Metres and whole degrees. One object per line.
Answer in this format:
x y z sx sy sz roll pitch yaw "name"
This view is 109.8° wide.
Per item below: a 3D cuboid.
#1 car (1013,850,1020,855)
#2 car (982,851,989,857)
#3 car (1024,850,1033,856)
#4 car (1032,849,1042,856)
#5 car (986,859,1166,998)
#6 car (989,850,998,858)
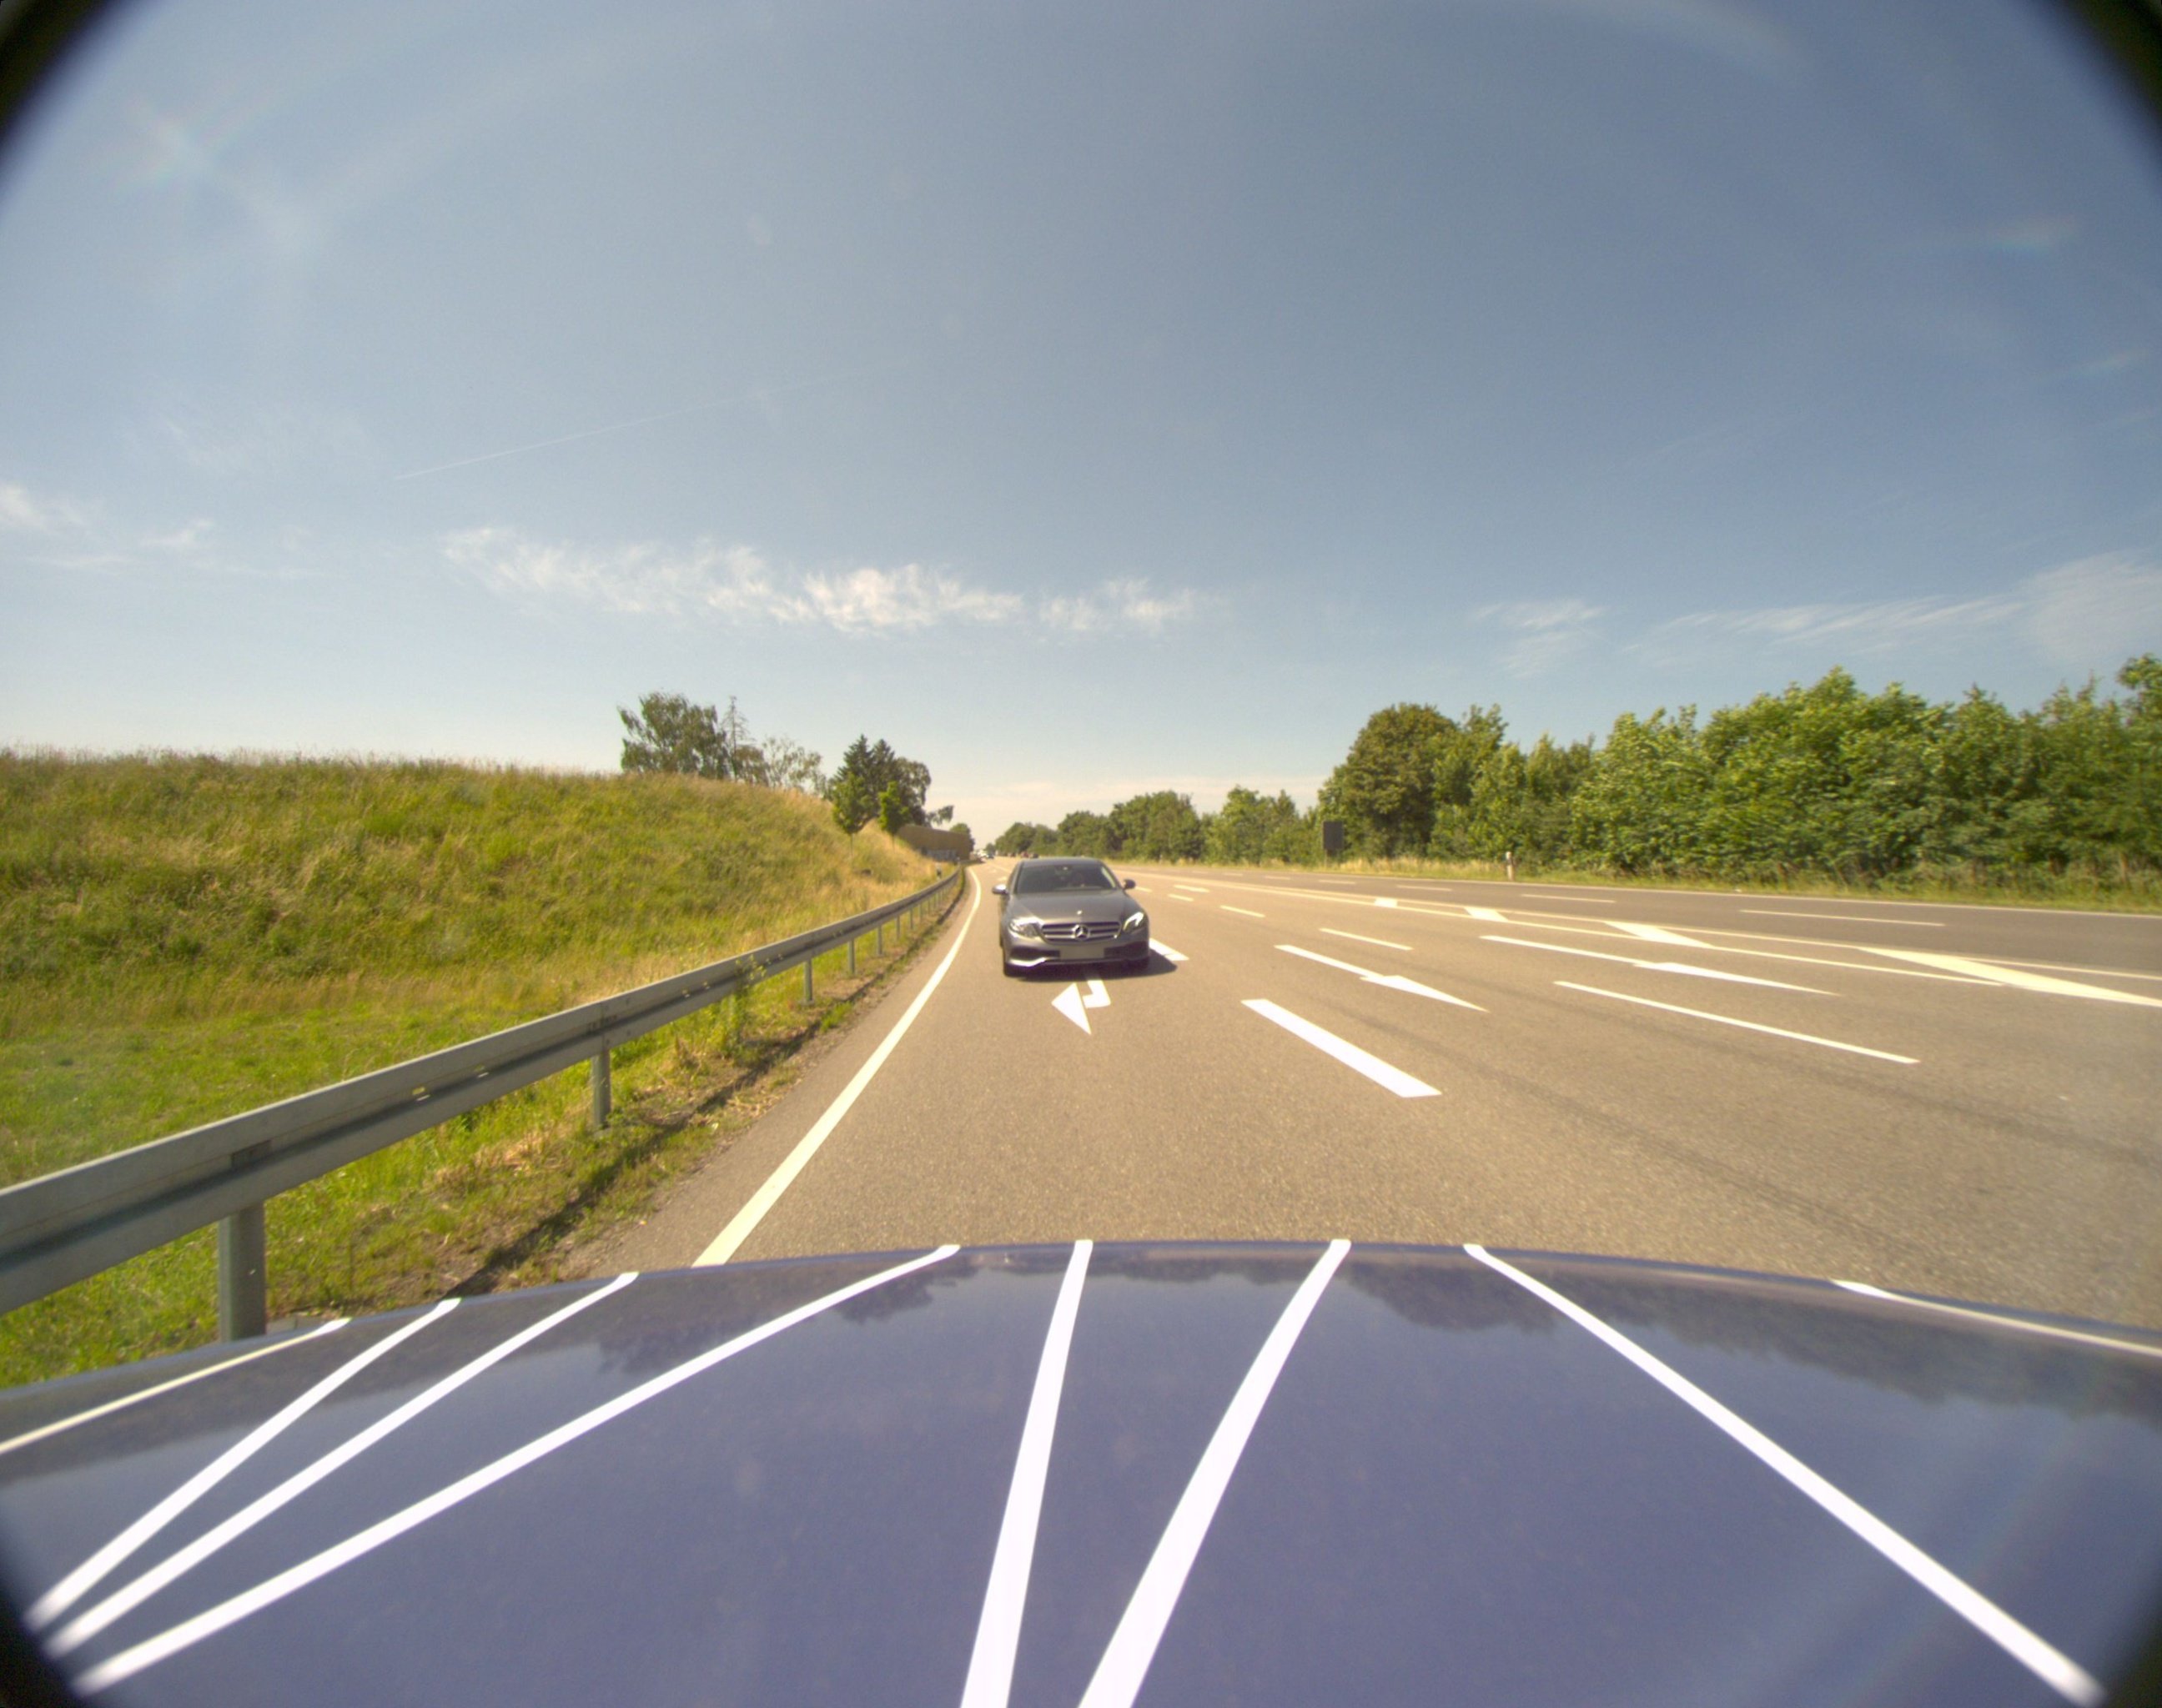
-19.541 -0.524 229.164 1.650 1.479 3.555 -2 1 -9 "car"
-27.743 -0.073 220.269 1.802 1.674 3.996 -3 2 -7 "car"
-14.590 -0.366 210.266 2.035 1.630 4.564 0 1 -10 "car"
-10.598 -0.371 183.764 1.884 1.390 4.527 -2 1 -9 "car"
-0.317 0.868 11.014 1.895 1.439 4.521 -2 1 -9 "car"
-20.593 0.036 178.819 1.802 1.674 3.996 -3 2 -7 "car"
